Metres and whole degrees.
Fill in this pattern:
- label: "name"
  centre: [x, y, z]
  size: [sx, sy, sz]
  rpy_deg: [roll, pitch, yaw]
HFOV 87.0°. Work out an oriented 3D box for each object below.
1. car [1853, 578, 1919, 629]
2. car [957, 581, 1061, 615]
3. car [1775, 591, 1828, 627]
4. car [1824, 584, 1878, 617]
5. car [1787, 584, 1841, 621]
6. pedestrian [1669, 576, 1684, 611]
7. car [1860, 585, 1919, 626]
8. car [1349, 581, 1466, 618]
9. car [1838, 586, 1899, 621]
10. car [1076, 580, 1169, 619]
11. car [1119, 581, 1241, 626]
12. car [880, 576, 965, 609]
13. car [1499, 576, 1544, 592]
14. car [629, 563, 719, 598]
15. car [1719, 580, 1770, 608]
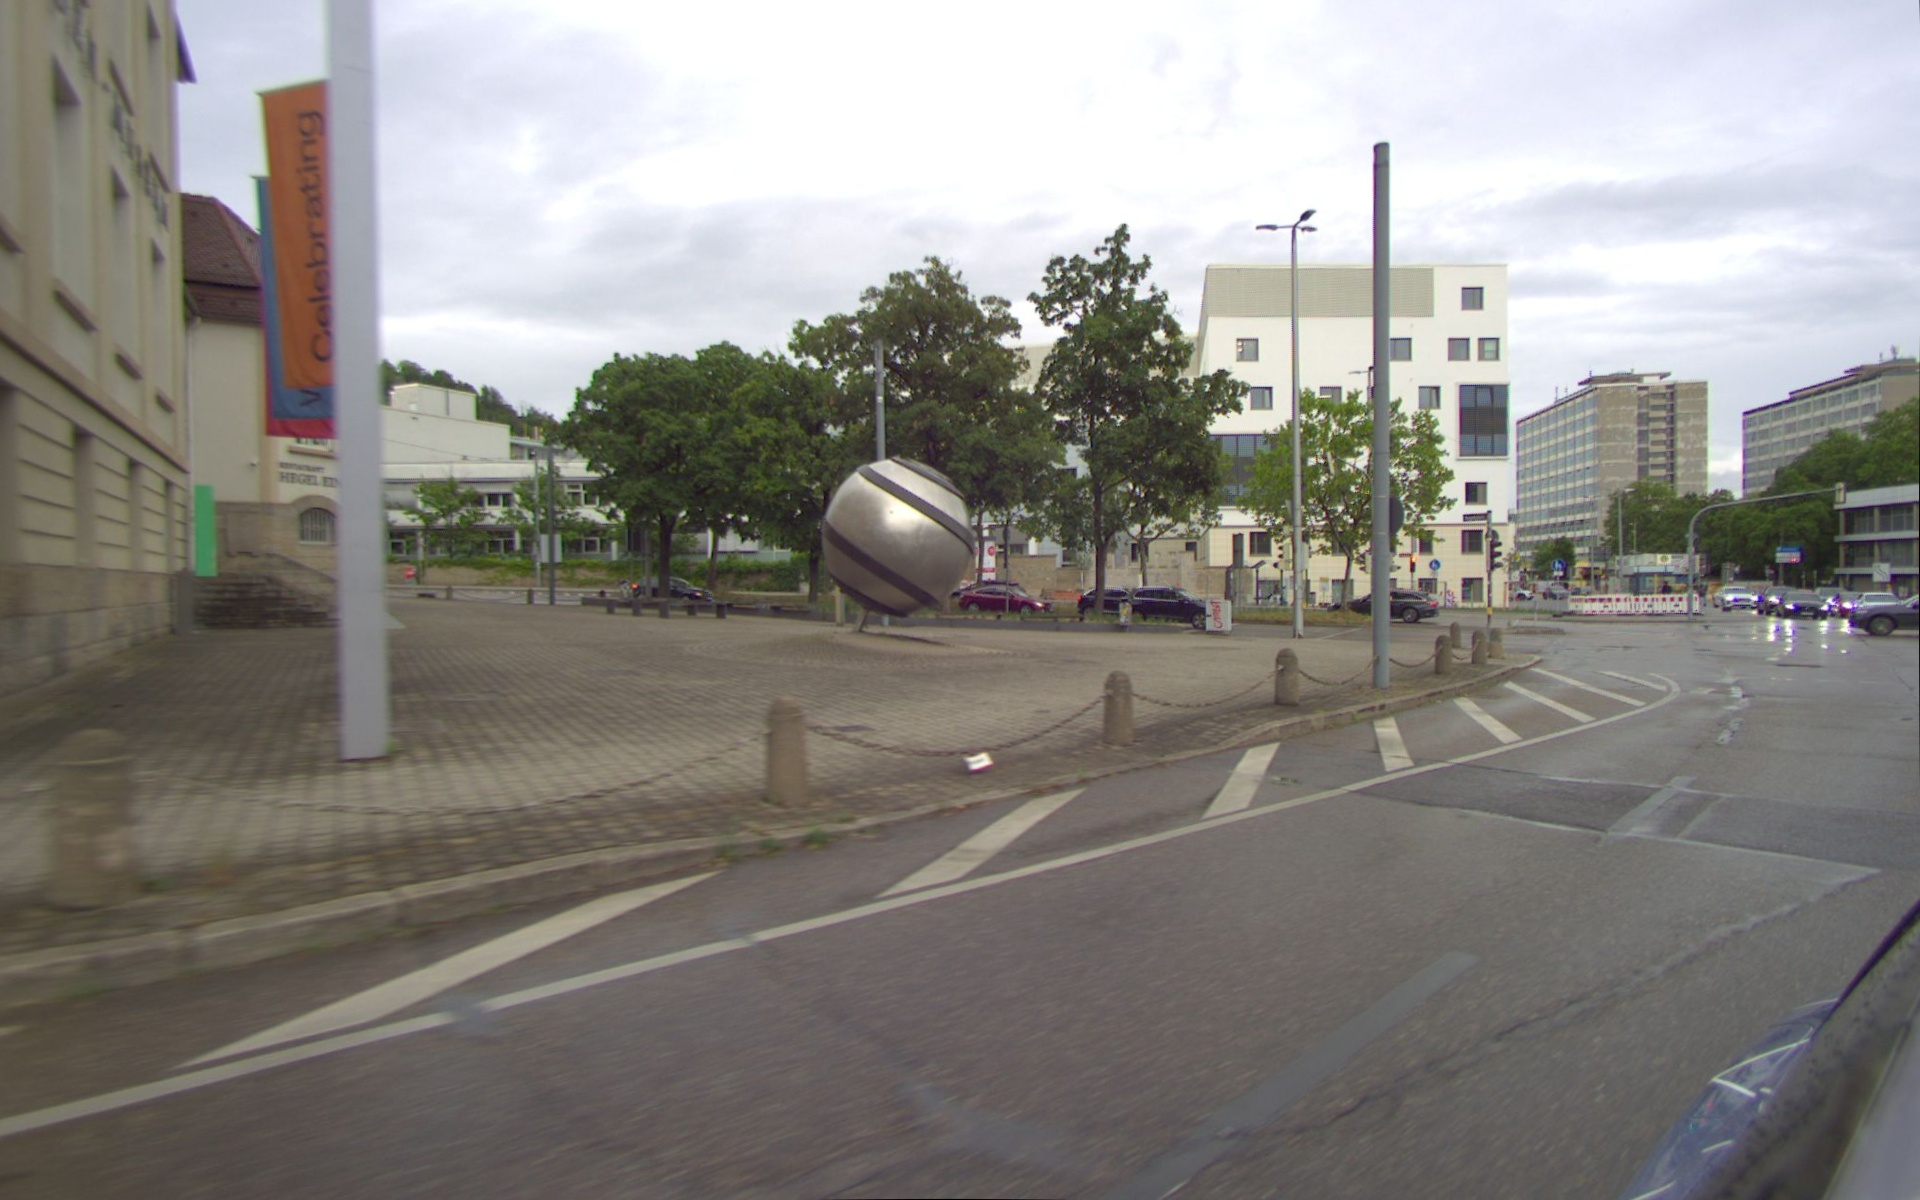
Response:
- label: "car"
  centre: [35.994, 0.158, 36.660]
  size: [5.265, 1.823, 2.021]
  rpy_deg: [2, 1, 38]
- label: "car"
  centre: [2.296, -0.120, 47.742]
  size: [4.563, 1.383, 1.765]
  rpy_deg: [2, 1, 25]
- label: "car"
  centre: [49.428, 0.490, 59.489]
  size: [2.065, 1.935, 4.503]
  rpy_deg: [2, 1, 36]
- label: "car"
  centre: [55.095, 0.022, 62.655]
  size: [2.065, 1.935, 4.503]
  rpy_deg: [2, 1, 36]
- label: "car"
  centre: [45.600, 0.114, 54.092]
  size: [1.873, 1.892, 4.290]
  rpy_deg: [2, 1, 36]
- label: "pedestrian"
  centre: [41.837, -0.379, 59.094]
  size: [0.639, 2.039, 0.588]
  rpy_deg: [1, 0, 34]
- label: "car"
  centre: [47.698, 0.255, 51.744]
  size: [2.065, 1.935, 4.503]
  rpy_deg: [2, 1, 36]
- label: "car"
  centre: [20.739, -0.072, 46.943]
  size: [4.796, 1.552, 2.076]
  rpy_deg: [2, 1, 29]
- label: "car"
  centre: [51.020, 0.191, 56.898]
  size: [2.065, 1.850, 4.503]
  rpy_deg: [2, 1, 36]
- label: "car"
  centre: [7.204, -0.043, 44.911]
  size: [3.707, 1.601, 1.742]
  rpy_deg: [2, 1, 28]
- label: "car"
  centre: [8.873, 0.117, 40.838]
  size: [4.449, 1.618, 1.967]
  rpy_deg: [2, 1, 28]
- label: "car"
  centre: [-2.099, -0.438, 57.189]
  size: [4.398, 1.735, 2.067]
  rpy_deg: [2, 1, 16]
- label: "car"
  centre: [63.049, -1.802, 113.697]
  size: [1.806, 1.725, 3.999]
  rpy_deg: [1, 1, -36]
- label: "car"
  centre: [-14.343, -1.002, 50.764]
  size: [4.114, 1.617, 1.825]
  rpy_deg: [2, 1, 24]
- label: "car"
  centre: [57.368, -0.449, 74.095]
  size: [2.057, 1.935, 4.520]
  rpy_deg: [2, 1, 27]
